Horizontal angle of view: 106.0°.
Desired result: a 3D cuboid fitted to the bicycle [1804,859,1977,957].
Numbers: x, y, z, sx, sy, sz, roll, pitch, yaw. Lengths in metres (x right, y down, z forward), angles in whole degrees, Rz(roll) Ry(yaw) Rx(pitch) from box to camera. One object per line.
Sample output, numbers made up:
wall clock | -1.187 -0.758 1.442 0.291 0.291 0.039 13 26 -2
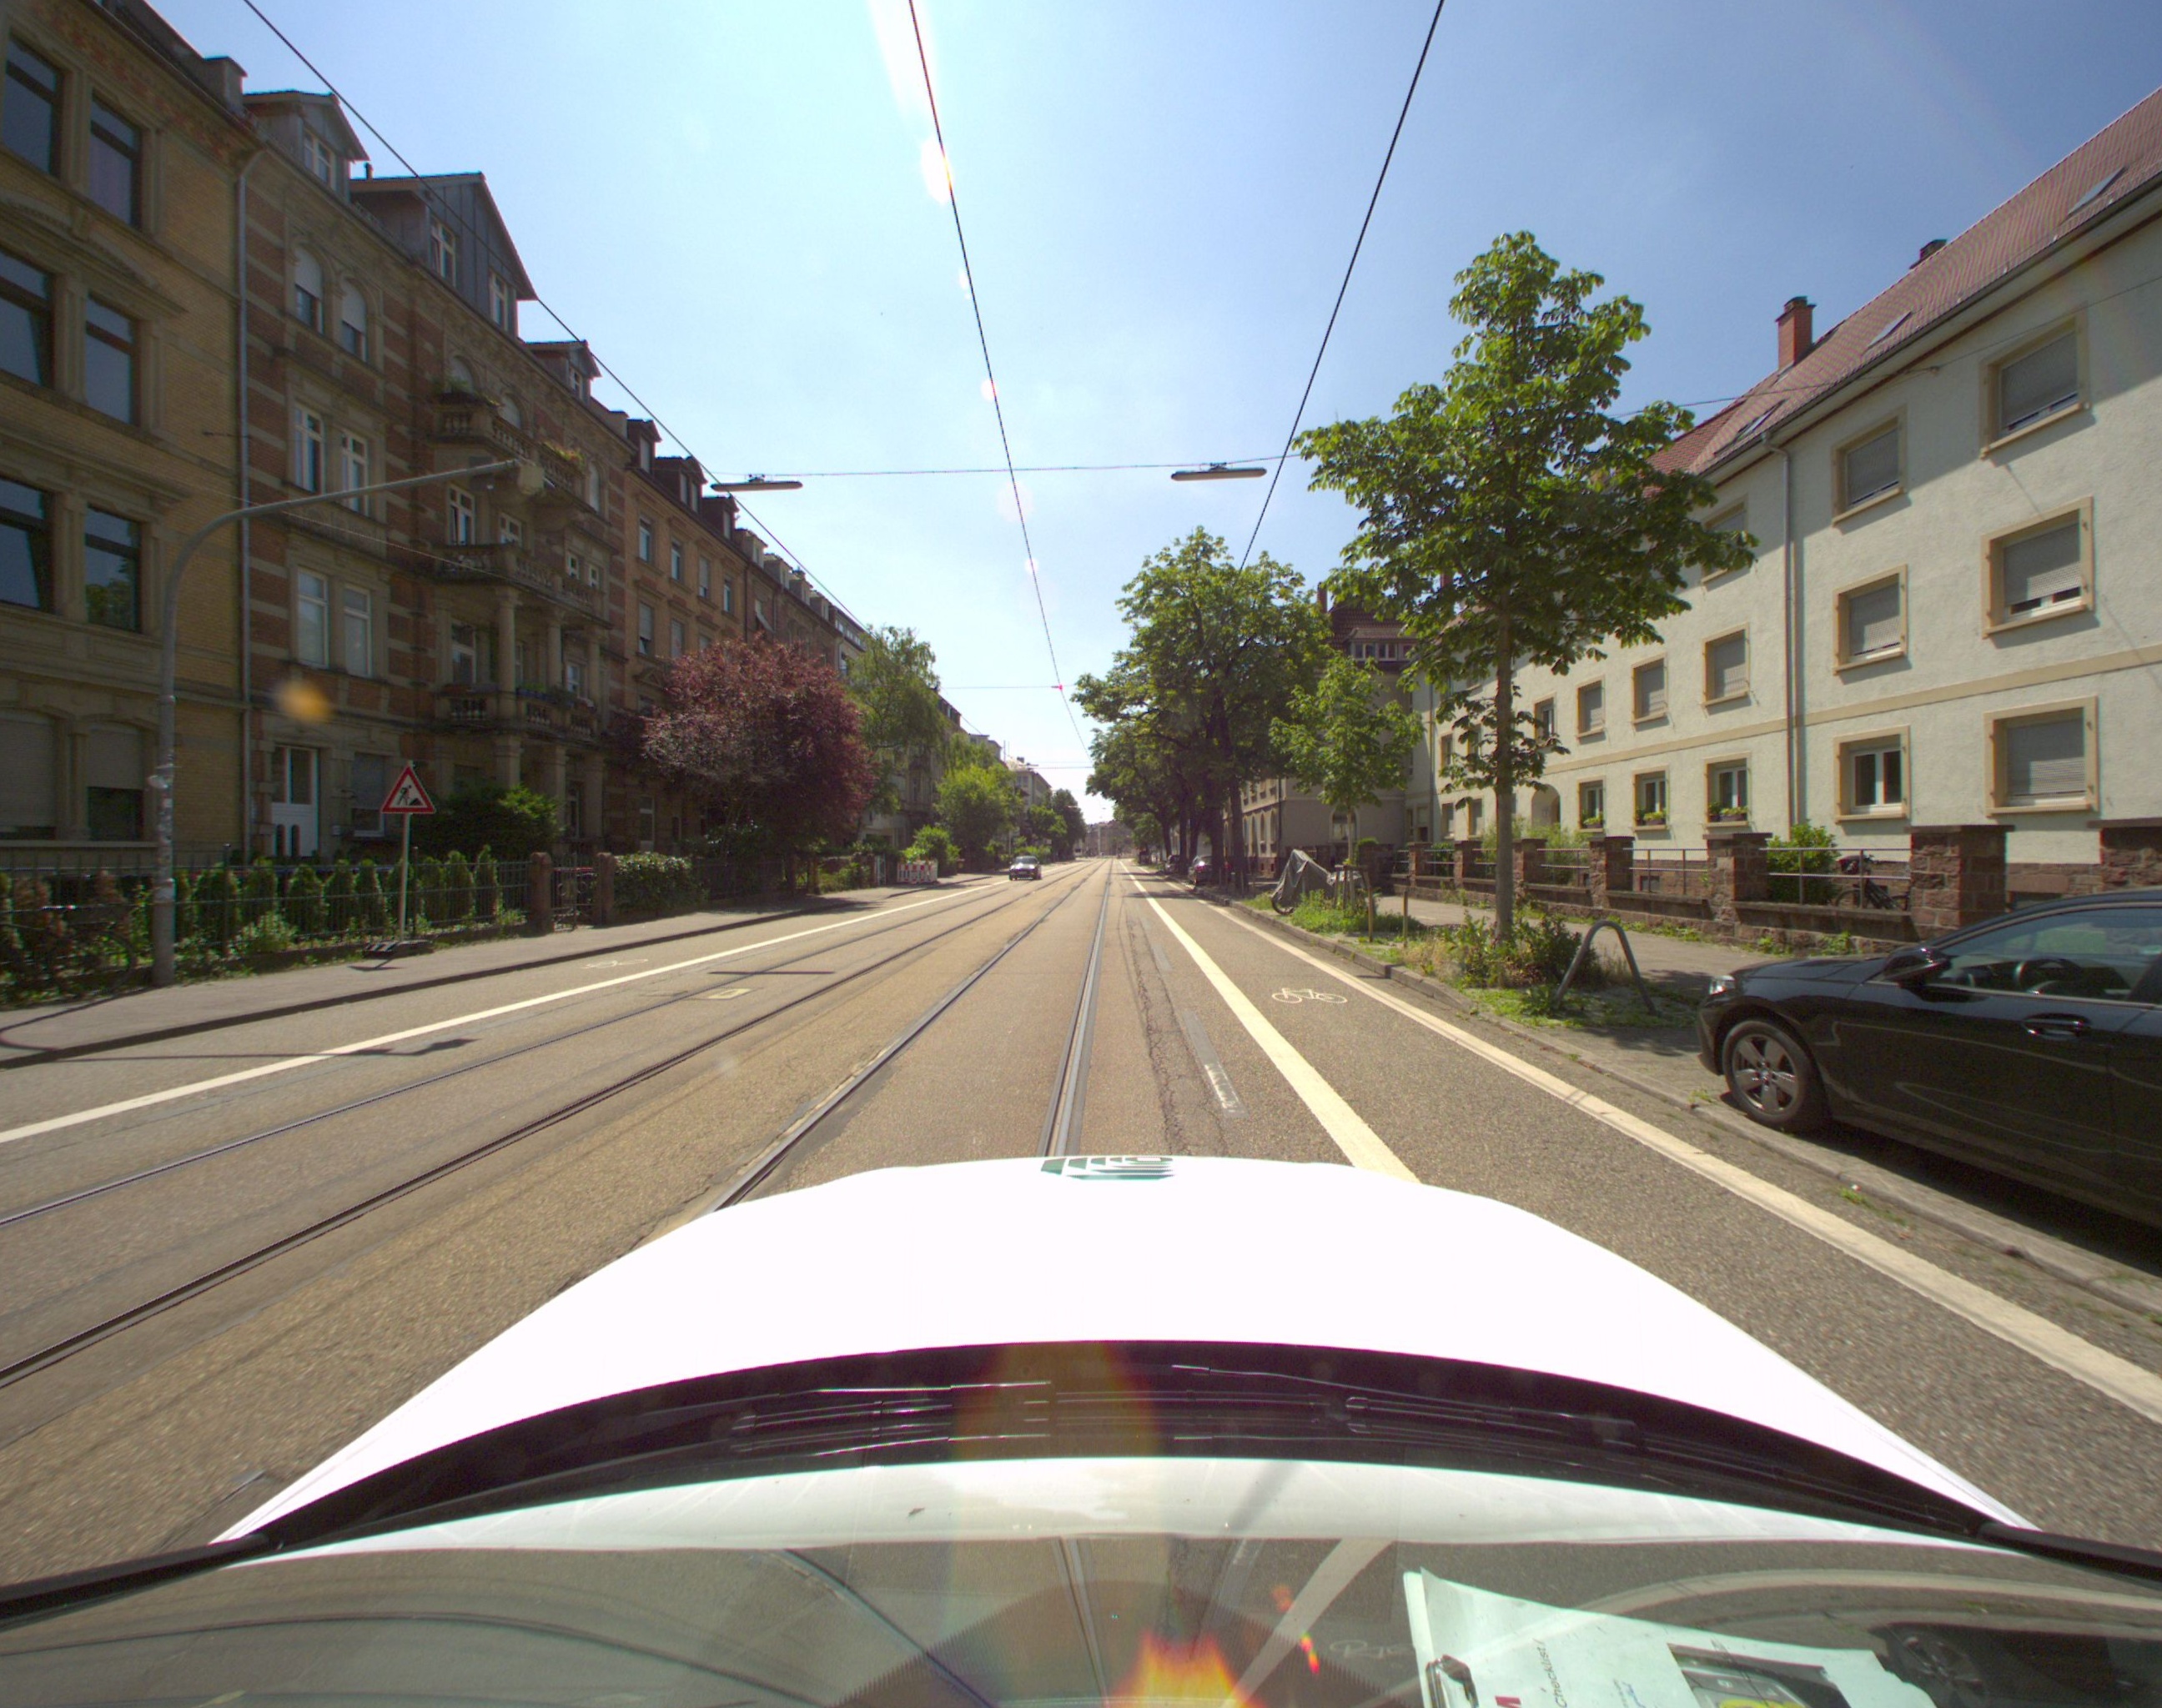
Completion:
bicycle | 10.150 0.635 10.311 0.496 1.102 1.809 -1 0 5

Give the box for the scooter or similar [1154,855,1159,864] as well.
scooter or similar | 9.773 0.707 105.292 0.499 1.230 1.574 0 0 2

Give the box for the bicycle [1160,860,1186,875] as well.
bicycle | 7.126 1.051 63.440 1.954 1.113 0.599 -2 -1 4

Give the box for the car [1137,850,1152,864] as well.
car | 9.162 0.413 117.612 1.985 2.035 4.699 -1 0 2

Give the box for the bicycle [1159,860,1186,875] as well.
bicycle | 7.203 1.053 64.101 2.001 1.113 0.640 -2 -1 4

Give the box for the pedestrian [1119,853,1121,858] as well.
pedestrian | 10.089 0.454 211.021 0.493 1.173 0.585 -1 0 -24

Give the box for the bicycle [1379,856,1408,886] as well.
bicycle | 11.319 0.605 29.533 0.457 1.056 1.565 -2 0 3

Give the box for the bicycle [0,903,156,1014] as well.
bicycle | -10.743 1.057 8.360 0.452 1.003 1.805 -1 0 -1

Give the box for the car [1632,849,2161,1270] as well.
car | 4.623 0.713 3.092 1.763 1.426 4.861 -1 0 0

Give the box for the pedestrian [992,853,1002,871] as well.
pedestrian | -7.415 0.693 71.928 0.748 1.629 0.834 0 0 2

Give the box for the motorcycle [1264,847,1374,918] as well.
motorcycle | 5.468 0.625 18.817 2.292 1.540 0.874 -1 0 45

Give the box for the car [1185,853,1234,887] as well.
car | 6.315 0.740 40.387 1.767 1.501 4.306 -2 0 1

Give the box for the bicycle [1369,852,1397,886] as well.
bicycle | 10.941 0.531 29.539 0.457 1.191 1.565 -2 0 3

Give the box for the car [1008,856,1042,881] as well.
car | -3.391 0.840 50.227 1.680 1.454 3.750 -1 0 2

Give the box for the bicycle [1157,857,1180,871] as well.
bicycle | 7.363 0.823 68.487 1.809 1.113 0.493 -2 -2 1

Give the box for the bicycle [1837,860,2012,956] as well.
bicycle | 10.843 0.649 10.564 0.496 1.102 1.809 -1 0 5

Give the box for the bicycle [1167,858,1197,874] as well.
bicycle | 6.794 0.816 54.738 1.952 1.063 0.600 -1 -1 8

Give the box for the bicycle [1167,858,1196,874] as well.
bicycle | 6.724 0.818 54.325 1.878 1.052 0.539 -1 -1 8

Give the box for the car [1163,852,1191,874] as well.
car | 6.914 0.647 59.052 1.615 1.448 3.811 -4 -1 2
